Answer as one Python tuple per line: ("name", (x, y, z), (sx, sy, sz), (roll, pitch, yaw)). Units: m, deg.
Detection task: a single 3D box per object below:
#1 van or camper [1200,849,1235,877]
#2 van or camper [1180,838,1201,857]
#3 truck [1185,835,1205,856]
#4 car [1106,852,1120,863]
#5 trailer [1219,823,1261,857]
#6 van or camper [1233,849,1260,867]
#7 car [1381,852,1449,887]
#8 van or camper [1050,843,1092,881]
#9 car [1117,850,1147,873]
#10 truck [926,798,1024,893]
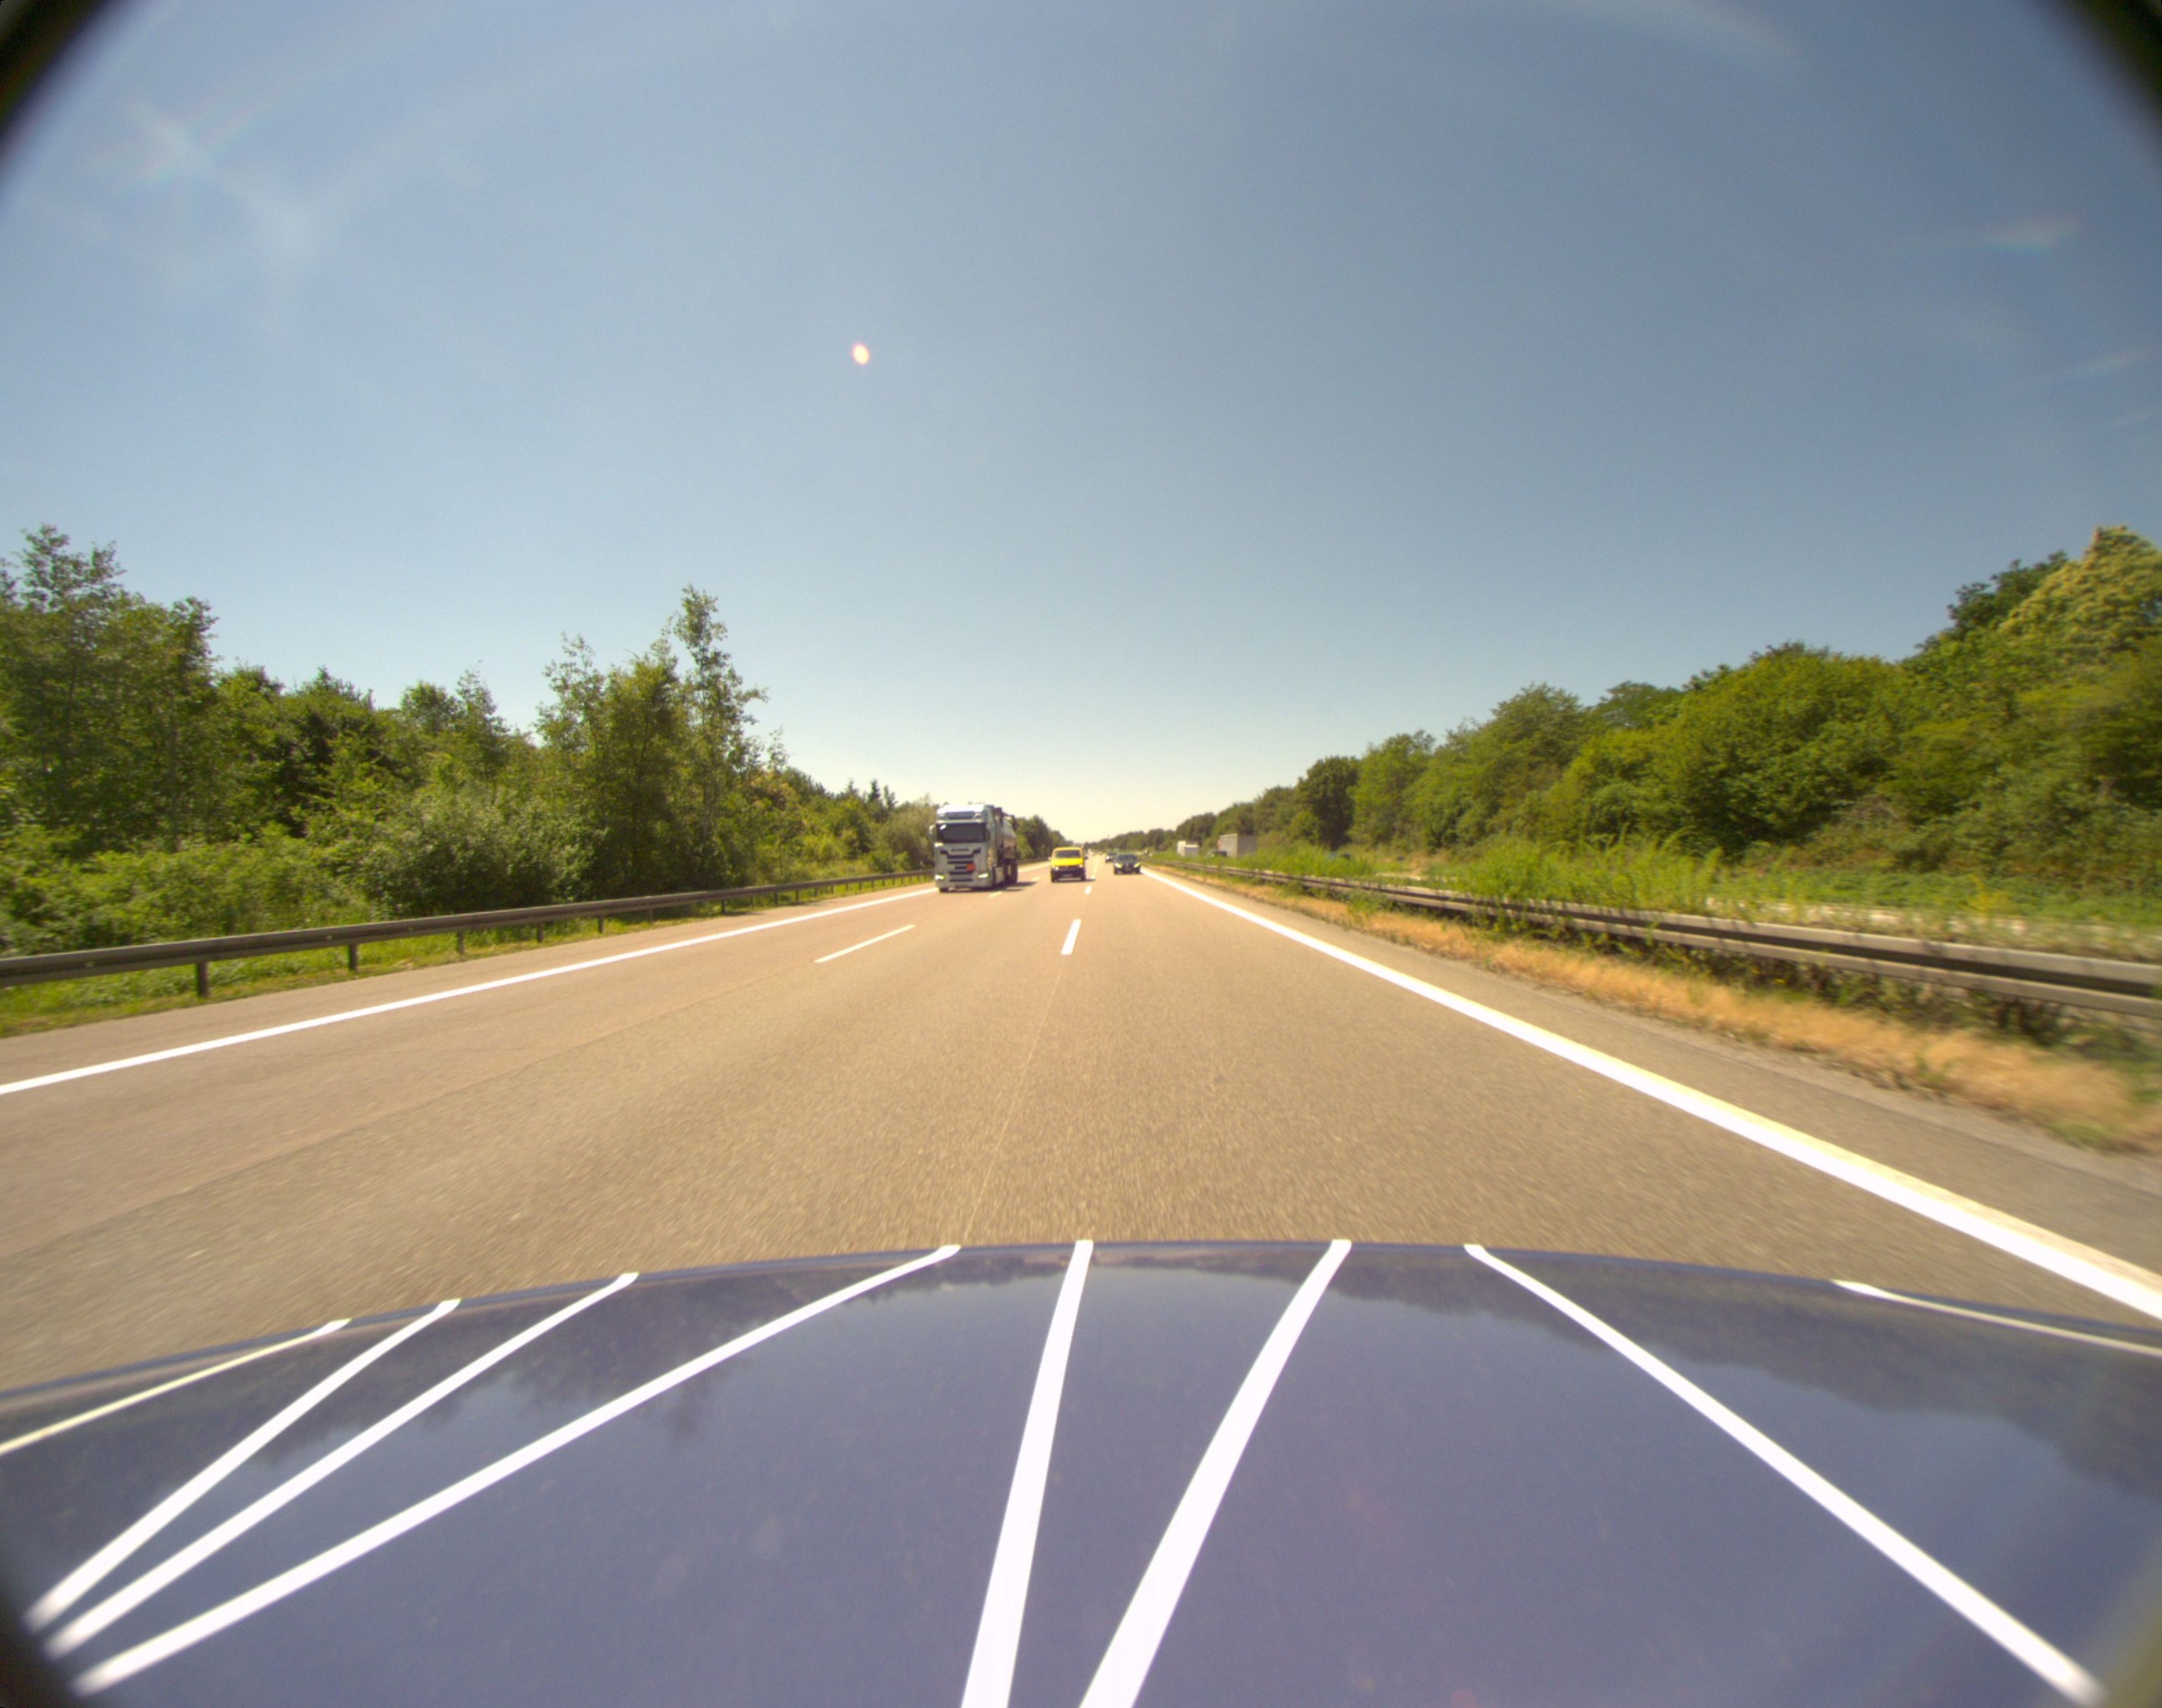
("van or camper", (13.200, 0.815, 73.842), (2.127, 2.610, 6.459), (-1, 0, -1))
("van or camper", (17.894, -1.102, 124.540), (2.619, 2.949, 7.859), (-3, 1, 3))
("truck", (23.163, -1.771, 154.474), (3.201, 4.125, 5.943), (-3, 1, 1))
("car", (4.647, 0.435, 110.286), (1.894, 1.541, 4.039), (1, 1, 1))
("trailer", (21.576, -1.909, 104.045), (3.152, 4.224, 14.479), (-3, 1, 2))
("van or camper", (18.615, 0.421, 85.646), (1.998, 2.002, 5.248), (-1, 0, 1))
("car", (18.012, 0.802, 41.205), (1.998, 1.707, 4.000), (-3, 1, 2))
("van or camper", (-0.481, 0.420, 44.103), (2.063, 1.992, 5.884), (-2, 1, 2))
("car", (3.626, 0.484, 54.314), (1.894, 1.541, 4.039), (1, 1, 1))
("truck", (-5.144, -0.450, 39.984), (2.805, 4.022, 13.353), (-3, 1, 1))
